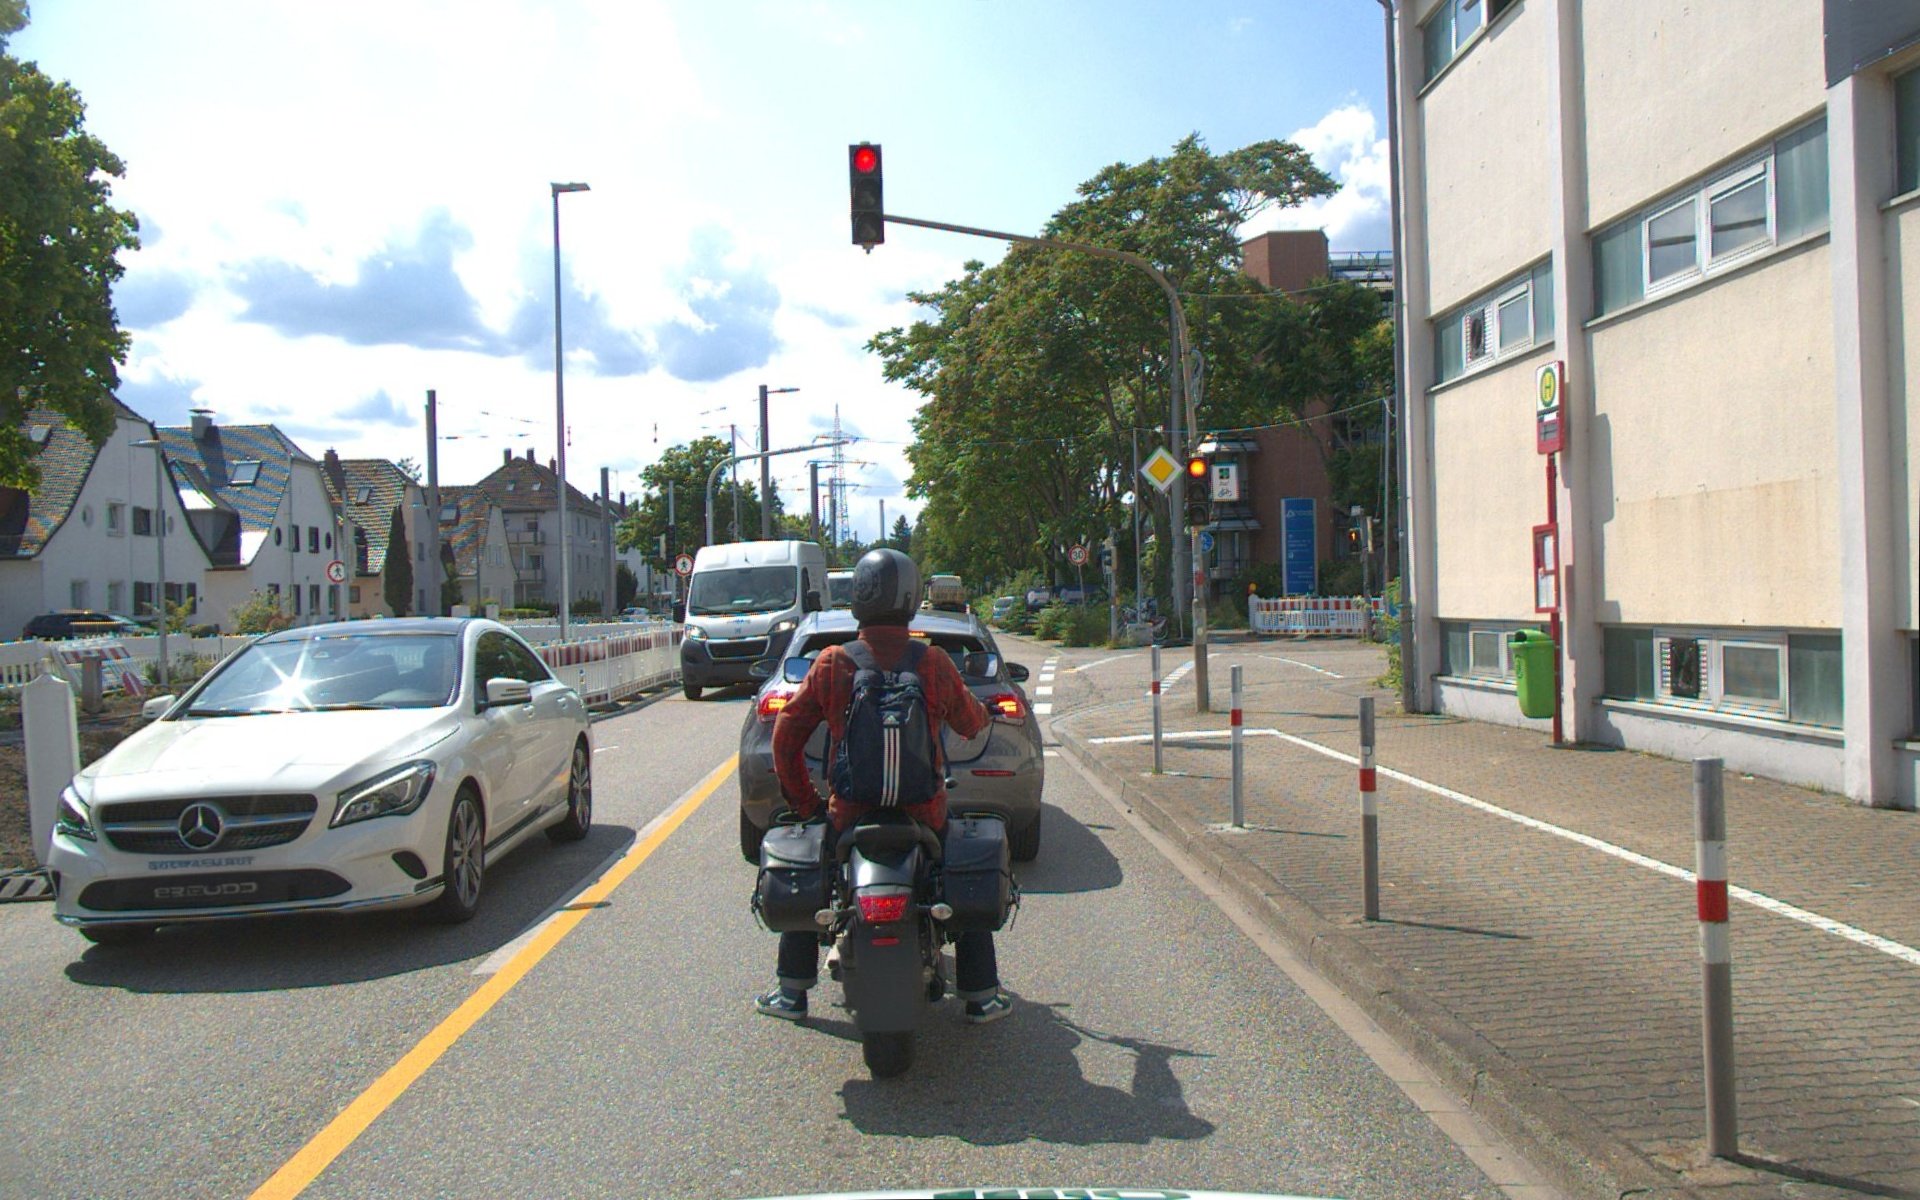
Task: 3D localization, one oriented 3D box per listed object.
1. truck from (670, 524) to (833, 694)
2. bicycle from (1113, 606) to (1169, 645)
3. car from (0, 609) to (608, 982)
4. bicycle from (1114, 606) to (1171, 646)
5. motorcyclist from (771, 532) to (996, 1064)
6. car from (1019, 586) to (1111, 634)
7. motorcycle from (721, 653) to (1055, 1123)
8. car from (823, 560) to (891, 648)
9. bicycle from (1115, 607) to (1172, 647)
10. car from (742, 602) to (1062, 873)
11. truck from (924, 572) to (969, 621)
[{"bbox_3d":[-3.405,0.075,28.044,2.050,2.519,5.195,-3,1,-1],"label":"truck"},{"bbox_3d":[5.524,0.780,50.526,1.672,1.192,0.438,0,-1,3],"label":"bicycle"},{"bbox_3d":[-3.151,0.829,8.888,1.709,1.462,4.082,-2,-1,-2],"label":"car"},{"bbox_3d":[5.507,0.791,49.954,1.672,1.192,0.438,0,-1,3],"label":"bicycle"},{"bbox_3d":[-0.243,0.612,5.441,0.684,1.632,0.691,0,-1,-2],"label":"motorcyclist"},{"bbox_3d":[4.456,0.420,69.582,1.772,1.959,3.973,0,-1,43],"label":"car"},{"bbox_3d":[-0.231,0.843,5.849,0.923,1.221,2.471,0,0,-2],"label":"motorcycle"},{"bbox_3d":[-2.640,0.125,42.911,1.557,2.180,3.626,0,-1,-1],"label":"car"},{"bbox_3d":[5.467,0.808,49.397,1.672,1.192,0.438,0,-1,3],"label":"bicycle"},{"bbox_3d":[-0.508,0.741,10.867,1.698,1.428,4.081,1,0,-6],"label":"car"},{"bbox_3d":[-0.878,-0.204,113.252,2.906,3.229,7.764,0,-1,1],"label":"truck"}]
